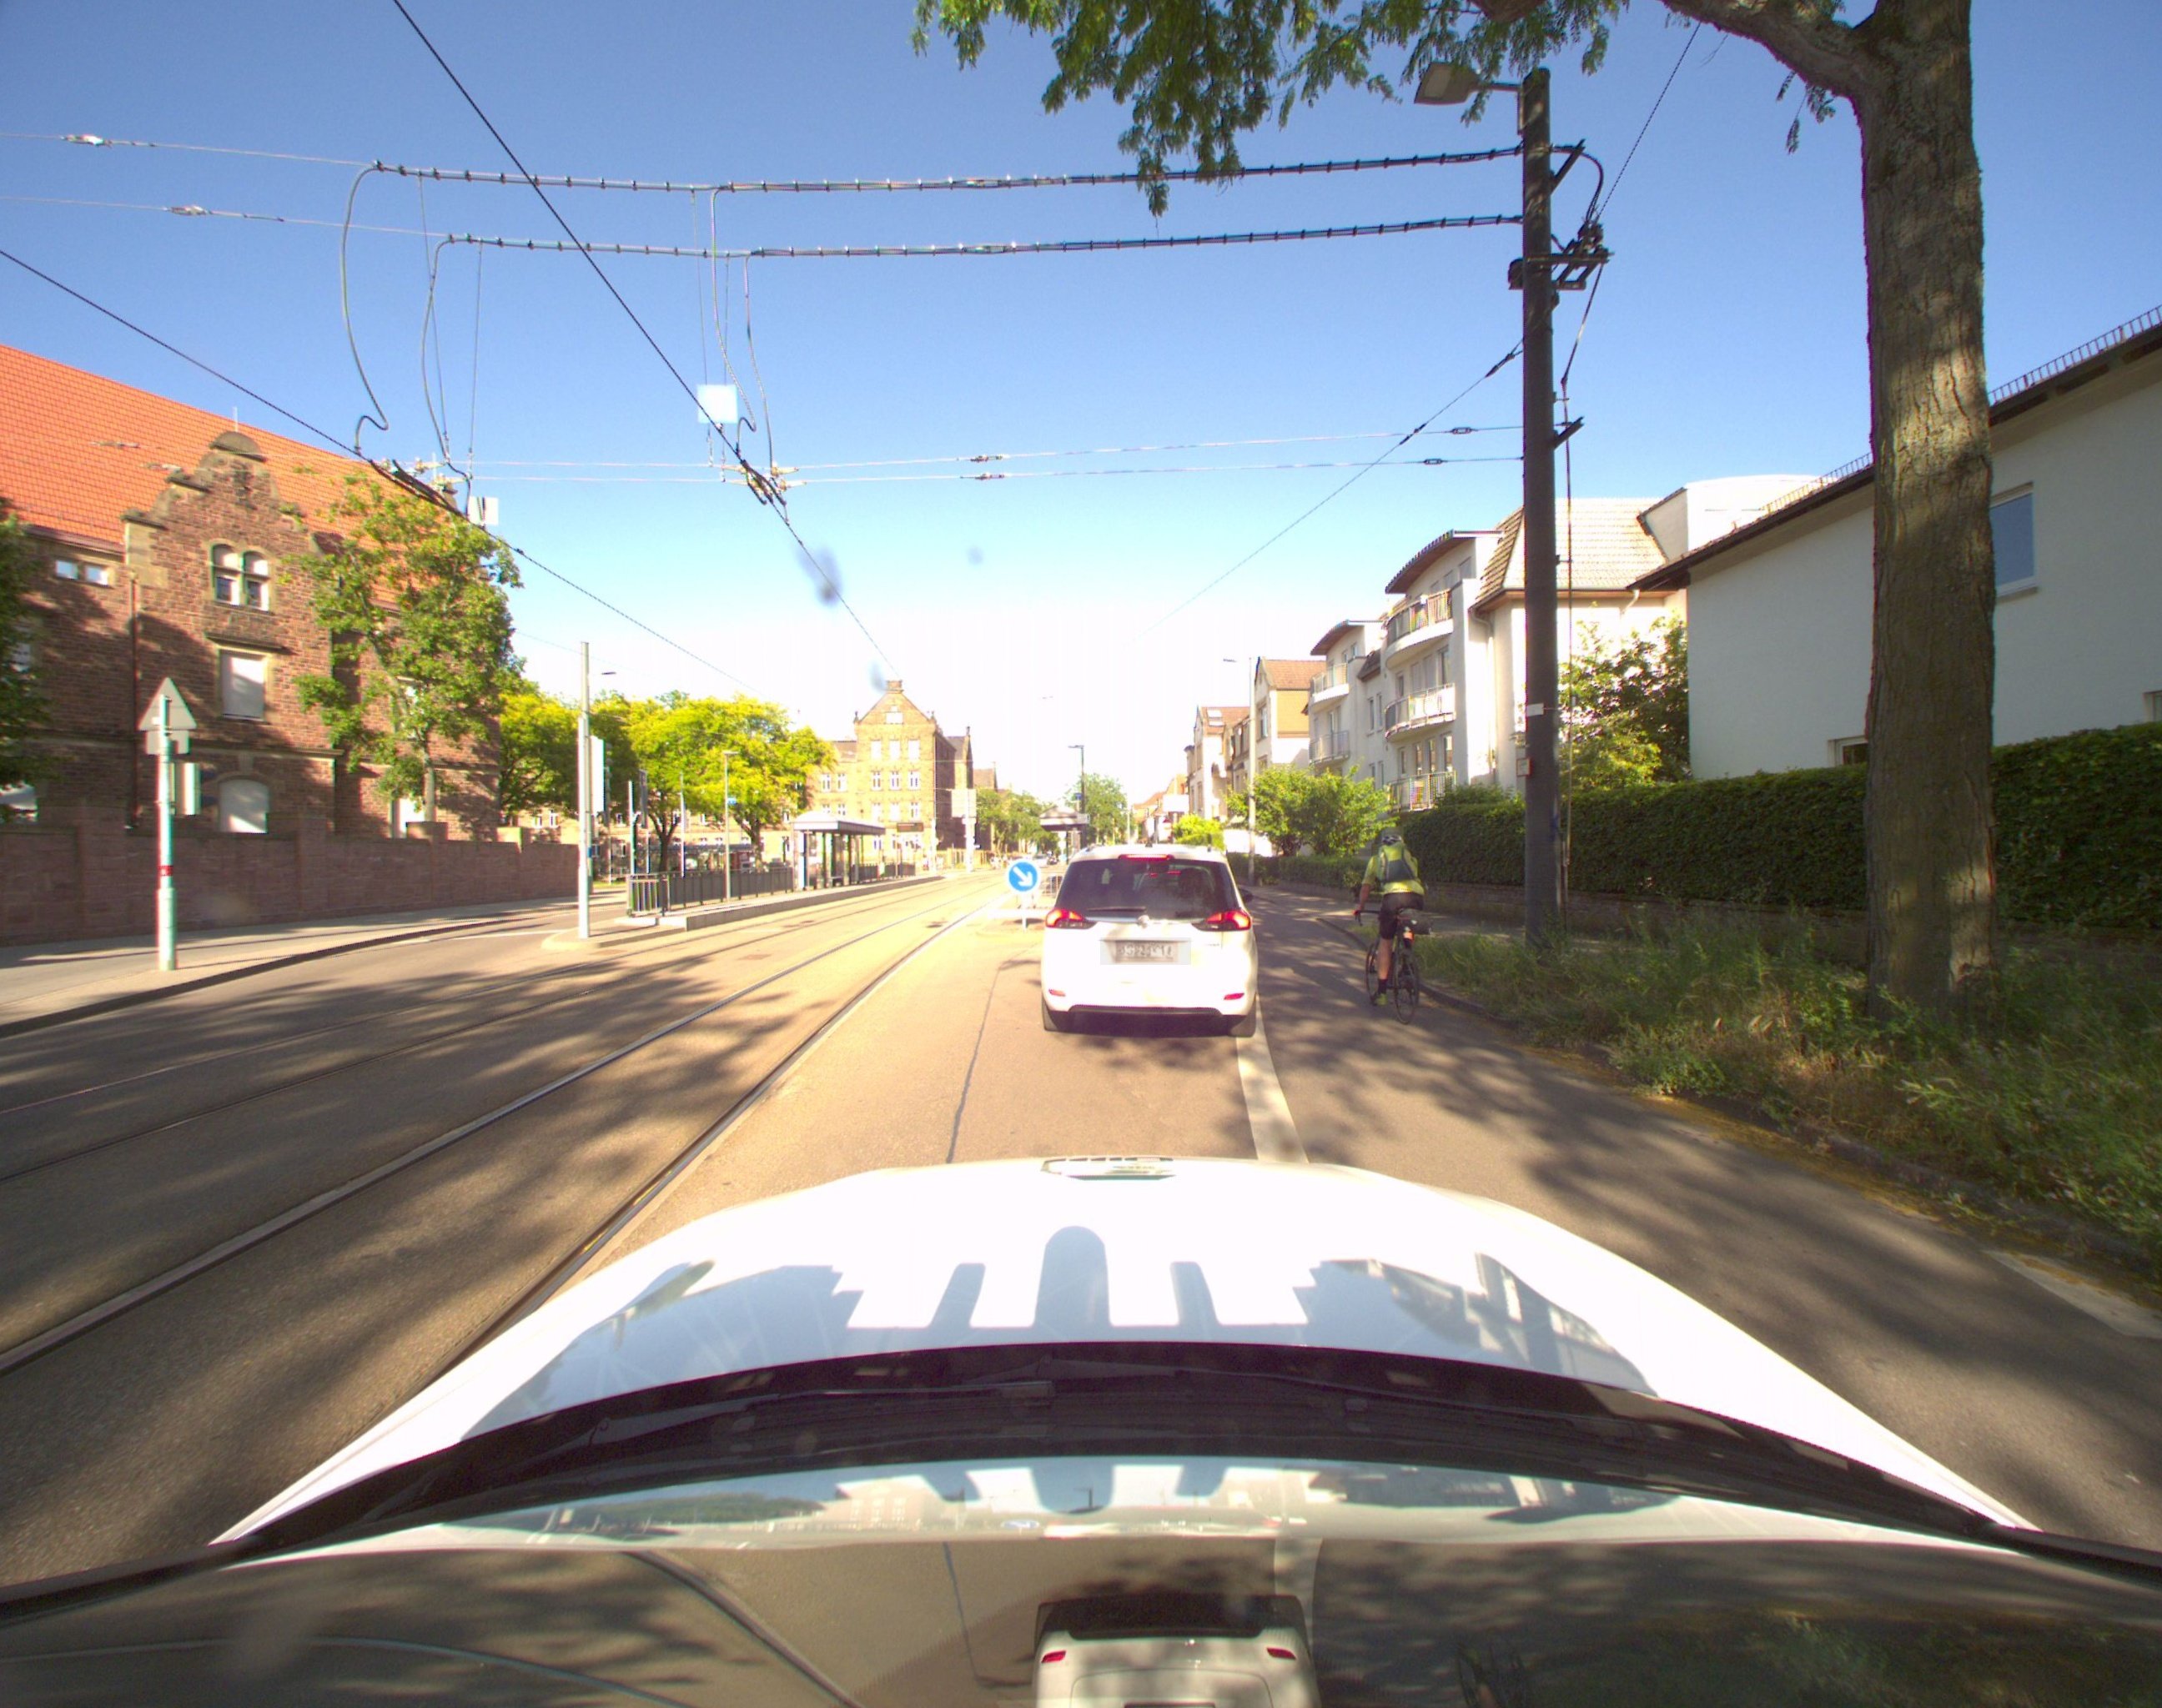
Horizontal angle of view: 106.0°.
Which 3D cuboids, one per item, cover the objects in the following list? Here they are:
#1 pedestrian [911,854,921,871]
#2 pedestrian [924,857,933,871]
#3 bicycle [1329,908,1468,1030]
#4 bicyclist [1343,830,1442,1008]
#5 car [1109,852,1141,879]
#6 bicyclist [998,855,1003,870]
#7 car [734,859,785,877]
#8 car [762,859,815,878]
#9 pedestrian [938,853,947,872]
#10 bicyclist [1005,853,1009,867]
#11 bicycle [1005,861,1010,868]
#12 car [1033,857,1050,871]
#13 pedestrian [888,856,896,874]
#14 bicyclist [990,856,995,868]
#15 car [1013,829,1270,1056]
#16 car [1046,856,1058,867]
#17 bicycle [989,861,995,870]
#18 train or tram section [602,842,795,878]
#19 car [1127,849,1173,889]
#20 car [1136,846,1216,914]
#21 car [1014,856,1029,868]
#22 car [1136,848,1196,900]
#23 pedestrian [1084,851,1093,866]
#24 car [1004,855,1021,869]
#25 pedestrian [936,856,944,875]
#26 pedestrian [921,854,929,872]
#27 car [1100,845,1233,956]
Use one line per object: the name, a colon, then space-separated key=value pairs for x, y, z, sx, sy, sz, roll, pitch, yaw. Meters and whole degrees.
pedestrian: x=-18.156 y=0.923 z=89.637 sx=0.802 sy=1.901 sz=0.747 roll=-1 pitch=-1 yaw=16
pedestrian: x=-17.661 y=1.194 z=94.316 sx=0.648 sy=1.612 sz=0.715 roll=-1 pitch=-1 yaw=27
bicycle: x=3.038 y=1.063 z=8.009 sx=0.673 sy=0.925 sz=1.886 roll=-1 pitch=0 yaw=2
bicyclist: x=3.038 y=0.608 z=8.009 sx=0.673 sy=1.658 sz=0.745 roll=-1 pitch=0 yaw=1
car: x=2.841 y=0.751 z=53.166 sx=1.901 sy=1.661 sz=4.000 roll=-1 pitch=0 yaw=0
bicyclist: x=-10.712 y=1.163 z=108.490 sx=0.496 sy=2.014 sz=0.572 roll=0 pitch=-1 yaw=1
car: x=-29.653 y=1.307 z=75.200 sx=3.976 sy=1.630 sz=1.817 roll=0 pitch=-1 yaw=-2
car: x=-25.446 y=1.232 z=70.957 sx=3.976 sy=1.630 sz=1.817 roll=0 pitch=-1 yaw=-2
pedestrian: x=-14.551 y=0.864 z=85.500 sx=0.796 sy=2.014 sz=0.717 roll=0 pitch=-1 yaw=-15
bicyclist: x=-10.137 y=0.839 z=111.792 sx=0.486 sy=2.014 sz=0.502 roll=0 pitch=-1 yaw=1
bicycle: x=-10.131 y=1.449 z=111.772 sx=0.485 sy=0.971 sz=1.406 roll=0 pitch=-1 yaw=2
car: x=-4.916 y=1.206 z=101.464 sx=1.740 sy=1.716 sz=4.001 roll=0 pitch=-1 yaw=2
pedestrian: x=-19.582 y=1.140 z=84.432 sx=0.768 sy=1.774 sz=0.717 roll=0 pitch=-1 yaw=-15
bicyclist: x=-11.039 y=0.990 z=101.254 sx=0.529 sy=1.477 sz=0.572 roll=0 pitch=-1 yaw=1
car: x=0.753 y=0.662 z=8.101 sx=1.896 sy=1.661 sz=4.010 roll=-1 pitch=0 yaw=9
car: x=-4.601 y=1.181 z=129.382 sx=1.740 sy=1.716 sz=4.001 roll=0 pitch=-1 yaw=2
bicycle: x=-11.059 y=1.395 z=101.109 sx=0.507 sy=1.077 sz=1.739 roll=0 pitch=-1 yaw=2
train or tram section: x=-37.844 y=0.566 z=81.133 sx=17.346 sy=3.154 sz=3.344 roll=-1 pitch=-1 yaw=-3
car: x=2.994 y=0.616 z=36.174 sx=1.899 sy=1.661 sz=4.003 roll=-1 pitch=0 yaw=3
car: x=2.617 y=0.637 z=21.673 sx=1.896 sy=1.624 sz=4.010 roll=-1 pitch=0 yaw=9
car: x=-8.329 y=1.114 z=114.104 sx=1.740 sy=1.716 sz=4.001 roll=0 pitch=-1 yaw=2
car: x=2.973 y=0.652 z=28.330 sx=1.897 sy=1.661 sz=4.007 roll=-1 pitch=0 yaw=6
pedestrian: x=0.902 y=0.592 z=100.901 sx=0.746 sy=1.901 sz=0.803 roll=0 pitch=-1 yaw=-30
car: x=-8.562 y=0.986 z=102.214 sx=1.740 sy=1.716 sz=4.001 roll=0 pitch=-1 yaw=2
pedestrian: x=-15.050 y=1.175 z=87.068 sx=0.795 sy=2.014 sz=1.042 roll=0 pitch=-1 yaw=-12
pedestrian: x=-17.623 y=1.025 z=91.982 sx=0.683 sy=2.014 sz=0.621 roll=-1 pitch=-1 yaw=43
car: x=1.556 y=0.686 z=13.852 sx=1.896 sy=1.597 sz=4.010 roll=-1 pitch=0 yaw=9
